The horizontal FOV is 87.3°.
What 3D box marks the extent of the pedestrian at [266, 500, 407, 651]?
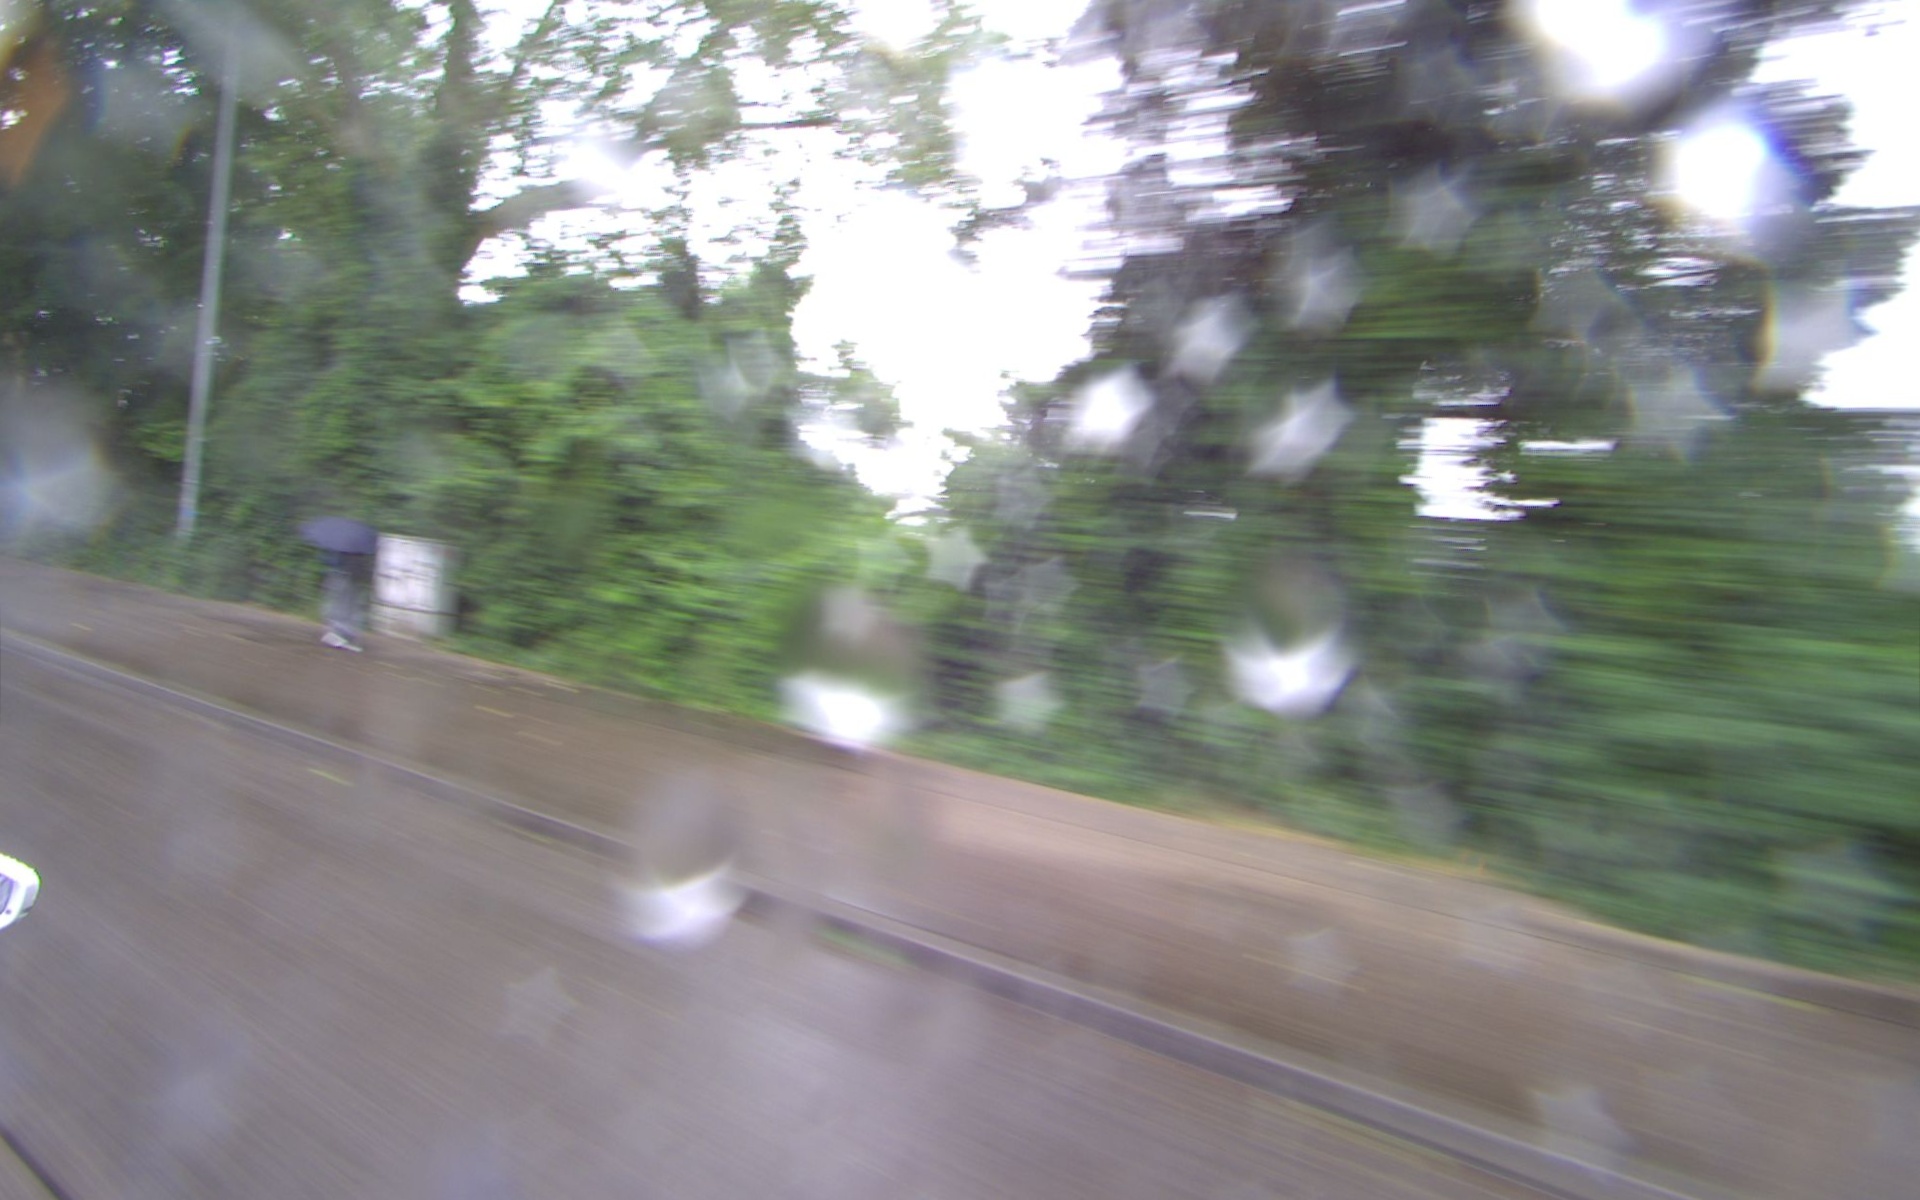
[{"bbox_3d":[-7.733,-0.291,12.482,1.122,1.724,0.967,7,1,31],"label":"pedestrian"}]
